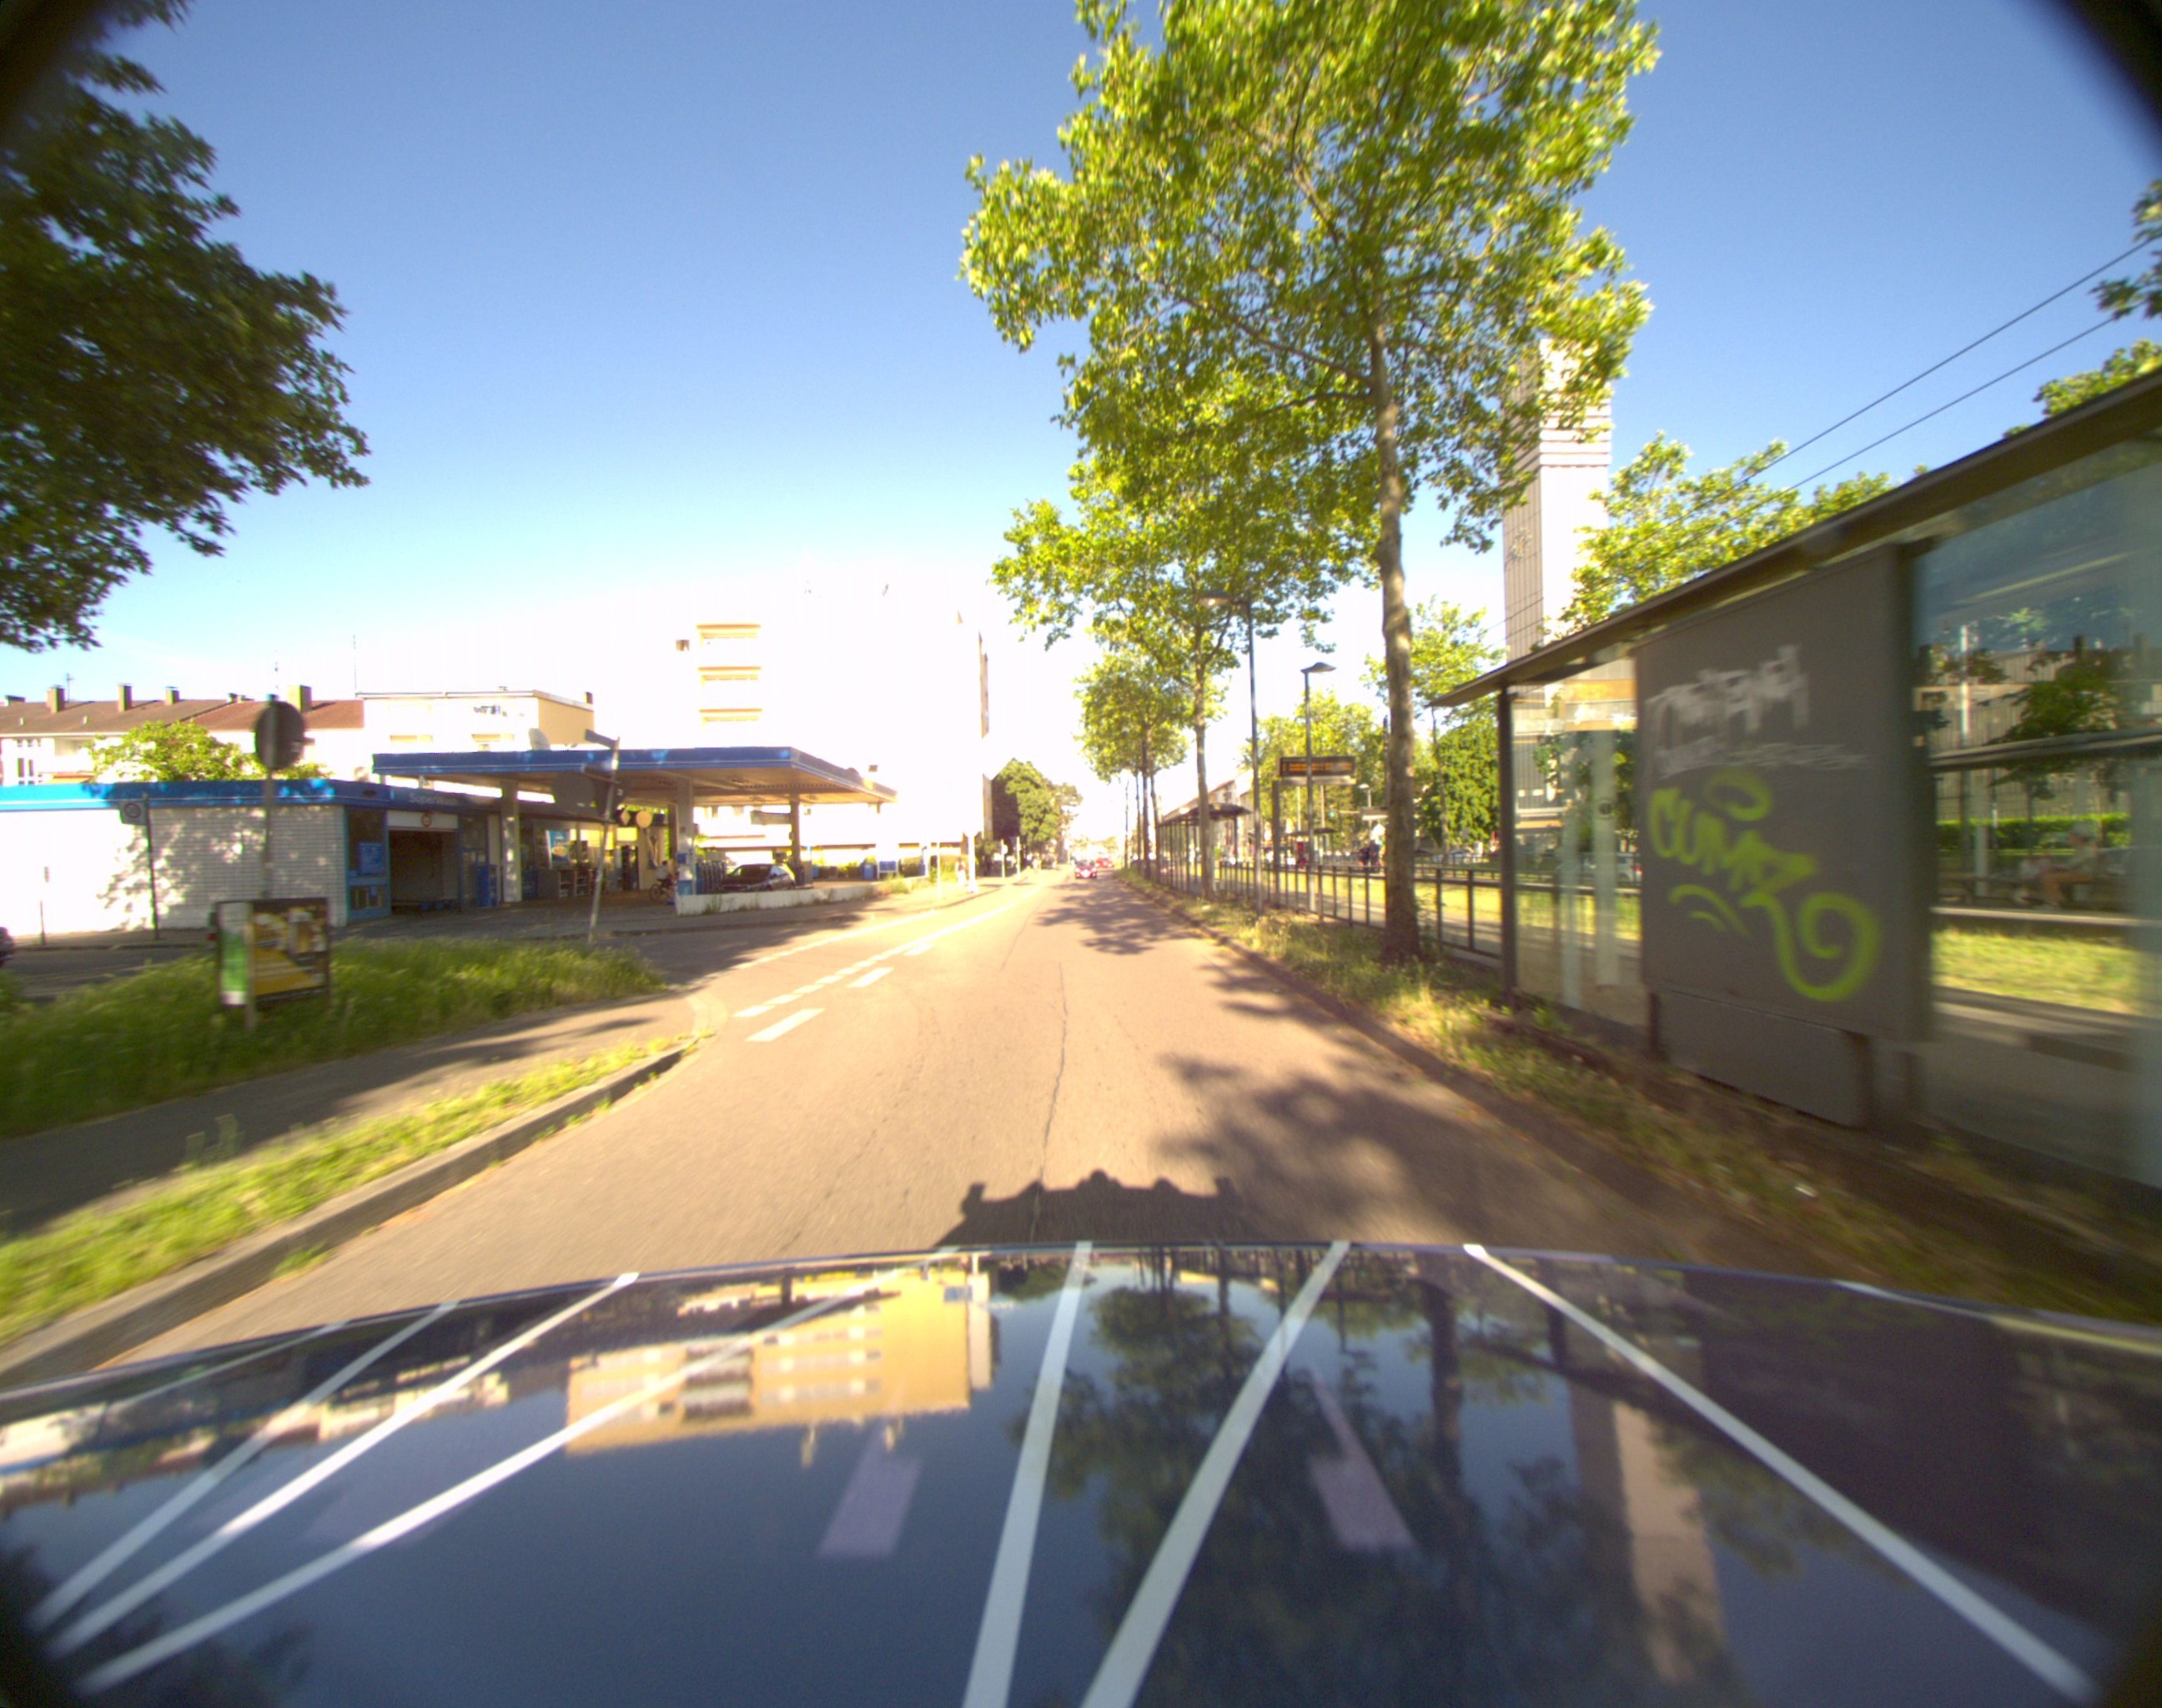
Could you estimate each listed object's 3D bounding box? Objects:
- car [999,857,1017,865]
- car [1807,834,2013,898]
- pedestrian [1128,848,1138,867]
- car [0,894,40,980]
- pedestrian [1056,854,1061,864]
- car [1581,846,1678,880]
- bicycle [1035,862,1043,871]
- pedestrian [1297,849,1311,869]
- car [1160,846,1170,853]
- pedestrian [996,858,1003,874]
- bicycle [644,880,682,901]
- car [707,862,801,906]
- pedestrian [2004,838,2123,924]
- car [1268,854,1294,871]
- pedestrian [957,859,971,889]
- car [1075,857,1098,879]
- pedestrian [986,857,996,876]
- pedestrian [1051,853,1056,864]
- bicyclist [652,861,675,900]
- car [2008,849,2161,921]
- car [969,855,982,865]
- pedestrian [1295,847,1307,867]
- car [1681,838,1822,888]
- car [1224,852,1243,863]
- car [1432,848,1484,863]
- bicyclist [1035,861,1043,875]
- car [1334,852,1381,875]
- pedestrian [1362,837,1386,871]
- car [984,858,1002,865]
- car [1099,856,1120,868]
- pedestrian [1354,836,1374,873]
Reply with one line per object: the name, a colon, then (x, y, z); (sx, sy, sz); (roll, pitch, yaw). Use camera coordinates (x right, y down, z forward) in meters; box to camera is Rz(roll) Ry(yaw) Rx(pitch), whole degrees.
car: (-12.729, 1.221, 133.116); (1.997, 1.316, 4.280); (-2, 0, 10)
car: (23.531, 0.316, 21.807); (1.598, 1.626, 3.930); (-1, 0, 0)
pedestrian: (4.315, 0.304, 62.986); (0.660, 1.520, 0.538); (-2, 1, -7)
car: (-21.431, 1.557, 13.056); (4.201, 1.522, 1.983); (-2, 0, -1)
pedestrian: (-3.556, 0.834, 119.179); (0.596, 1.518, 0.633); (-1, 1, -10)
car: (21.106, 0.322, 29.385); (1.266, 1.234, 3.376); (-1, 0, -1)
bicycle: (-4.356, 1.289, 78.688); (0.684, 0.925, 1.736); (-1, 0, 0)
pedestrian: (15.154, 0.353, 51.589); (0.696, 1.334, 0.734); (-1, 1, 2)
car: (22.319, -1.244, 202.645); (2.144, 1.697, 5.402); (-2, 0, 0)
pedestrian: (-7.863, 1.146, 73.296); (0.505, 1.537, 0.518); (0, 1, -17)
bicycle: (-16.433, 1.424, 29.930); (0.540, 0.711, 1.708); (-2, 0, -1)
car: (-11.948, 1.052, 28.052); (1.725, 1.454, 4.005); (-1, 0, -1)
pedestrian: (14.976, 0.400, 11.614); (0.838, 1.253, 0.801); (-2, 1, 29)
car: (15.661, 0.652, 59.594); (1.328, 1.197, 2.965); (-2, 0, 1)
pedestrian: (-6.777, 1.149, 44.074); (0.605, 1.691, 0.552); (-2, 1, 4)
car: (0.449, 1.030, 57.325); (1.619, 1.536, 4.277); (-2, 0, 1)
pedestrian: (-8.624, 1.173, 73.063); (0.790, 1.817, 1.032); (0, 1, -17)
pedestrian: (-4.332, 0.640, 119.247); (0.567, 1.688, 0.595); (-2, 1, -18)
bicyclist: (-16.447, 1.031, 29.933); (0.540, 1.511, 0.629); (-2, 0, -1)
car: (23.242, 0.640, 16.377); (1.598, 1.480, 4.020); (-1, 0, 0)
car: (-18.860, 1.139, 135.824); (2.001, 1.689, 4.272); (-2, 0, -13)
pedestrian: (15.185, 0.217, 52.487); (0.733, 1.334, 0.774); (-1, 1, 14)
car: (23.764, 0.294, 27.124); (1.598, 1.623, 3.930); (-1, 0, 1)
car: (18.971, 0.385, 94.588); (1.329, 1.317, 3.415); (-1, 0, -6)
car: (40.327, 0.152, 81.378); (4.525, 1.477, 2.000); (-1, 0, 0)
bicyclist: (-4.345, 1.453, 78.699); (0.678, 1.466, 0.936); (-2, 1, 0)
car: (17.752, 0.590, 48.952); (1.609, 1.419, 3.536); (-1, 0, -2)
pedestrian: (14.733, -0.003, 38.209); (0.885, 1.680, 0.754); (-2, 1, 1)
car: (-15.539, 1.282, 133.778); (1.997, 1.060, 4.280); (-2, 0, 10)
car: (3.895, 1.022, 103.208); (1.545, 1.522, 3.597); (-4, 1, -20)
pedestrian: (14.527, 0.003, 38.995); (0.722, 1.856, 0.637); (-2, 1, 1)
